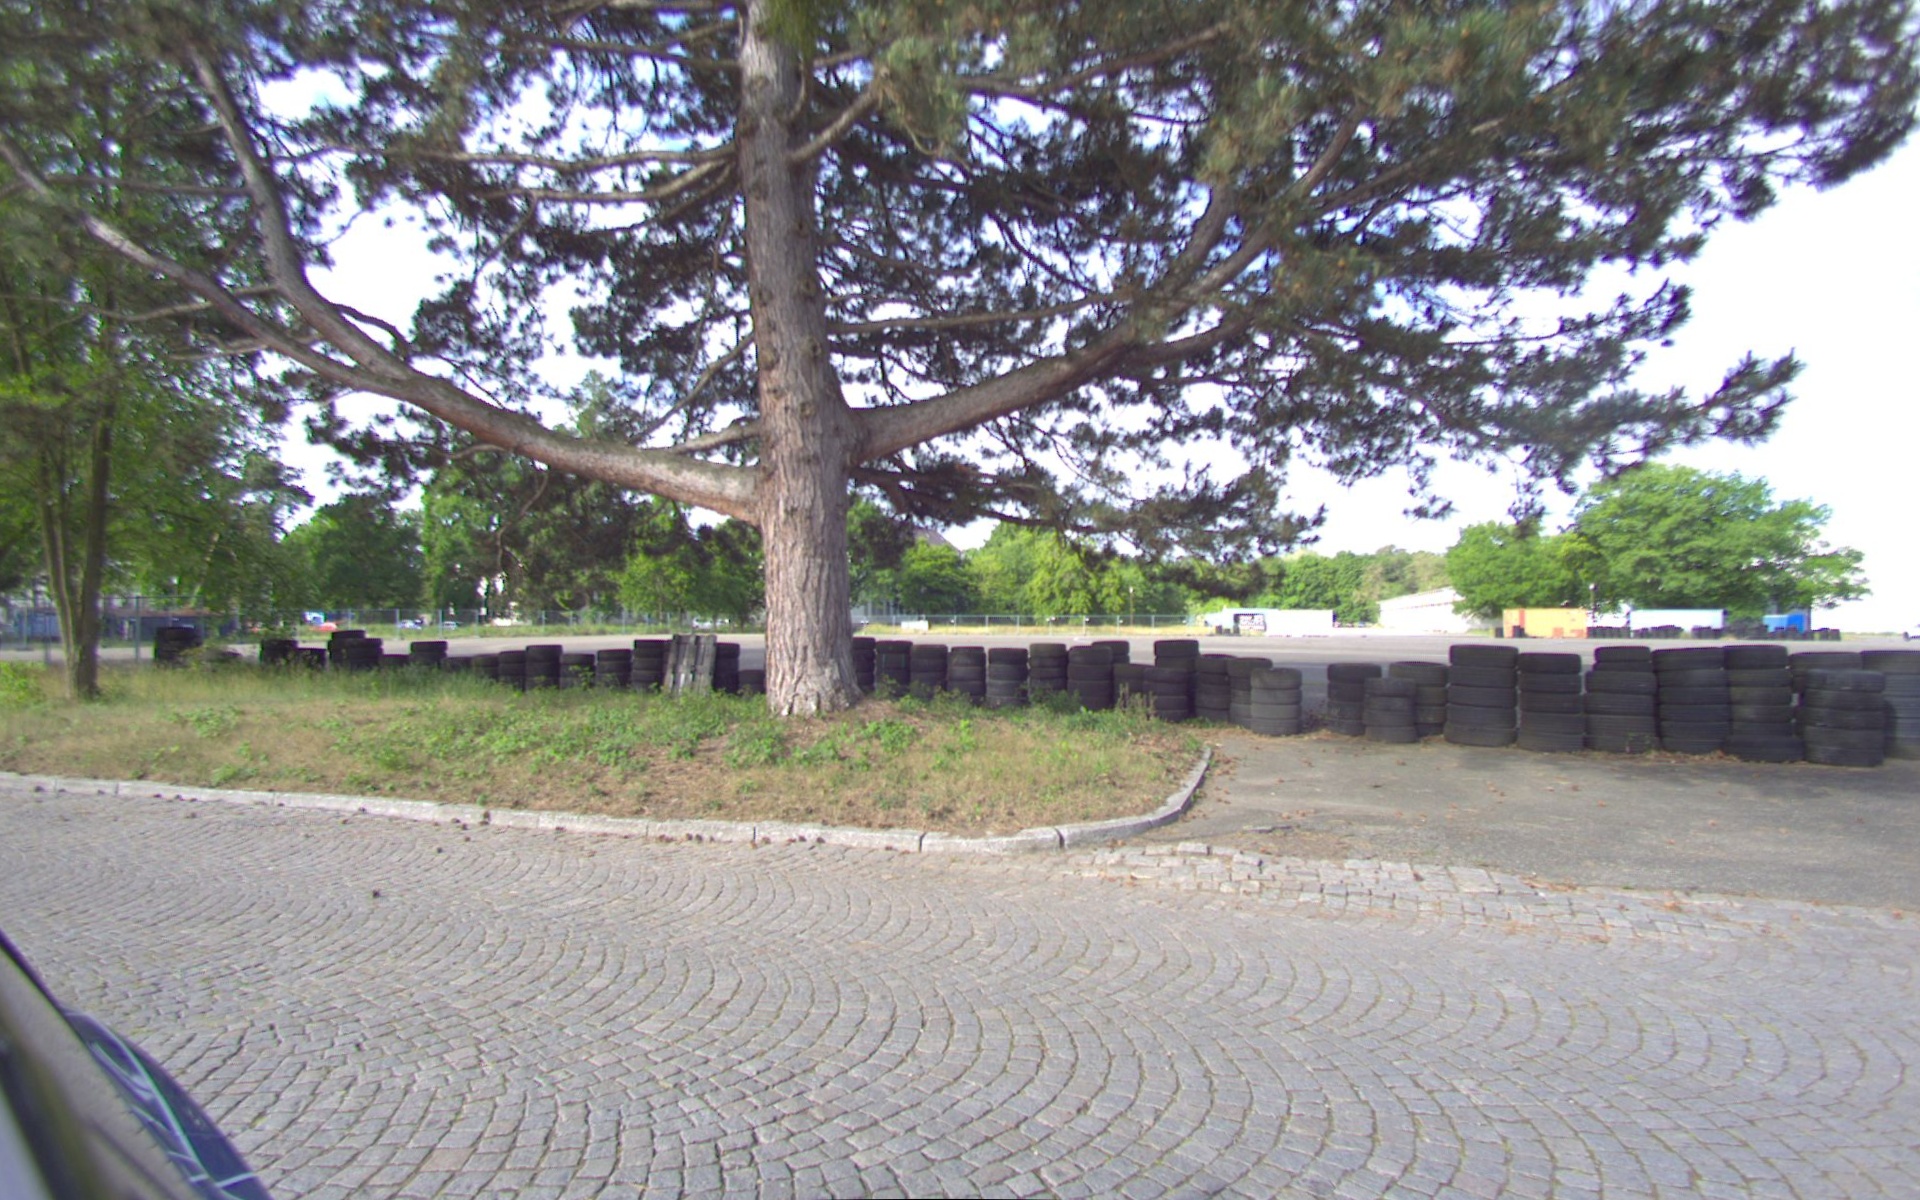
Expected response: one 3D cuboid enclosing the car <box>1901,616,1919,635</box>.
[{"bbox_3d":[81.227,2.118,84.540,1.858,1.576,4.525,-1,-1,15],"label":"car"}]
